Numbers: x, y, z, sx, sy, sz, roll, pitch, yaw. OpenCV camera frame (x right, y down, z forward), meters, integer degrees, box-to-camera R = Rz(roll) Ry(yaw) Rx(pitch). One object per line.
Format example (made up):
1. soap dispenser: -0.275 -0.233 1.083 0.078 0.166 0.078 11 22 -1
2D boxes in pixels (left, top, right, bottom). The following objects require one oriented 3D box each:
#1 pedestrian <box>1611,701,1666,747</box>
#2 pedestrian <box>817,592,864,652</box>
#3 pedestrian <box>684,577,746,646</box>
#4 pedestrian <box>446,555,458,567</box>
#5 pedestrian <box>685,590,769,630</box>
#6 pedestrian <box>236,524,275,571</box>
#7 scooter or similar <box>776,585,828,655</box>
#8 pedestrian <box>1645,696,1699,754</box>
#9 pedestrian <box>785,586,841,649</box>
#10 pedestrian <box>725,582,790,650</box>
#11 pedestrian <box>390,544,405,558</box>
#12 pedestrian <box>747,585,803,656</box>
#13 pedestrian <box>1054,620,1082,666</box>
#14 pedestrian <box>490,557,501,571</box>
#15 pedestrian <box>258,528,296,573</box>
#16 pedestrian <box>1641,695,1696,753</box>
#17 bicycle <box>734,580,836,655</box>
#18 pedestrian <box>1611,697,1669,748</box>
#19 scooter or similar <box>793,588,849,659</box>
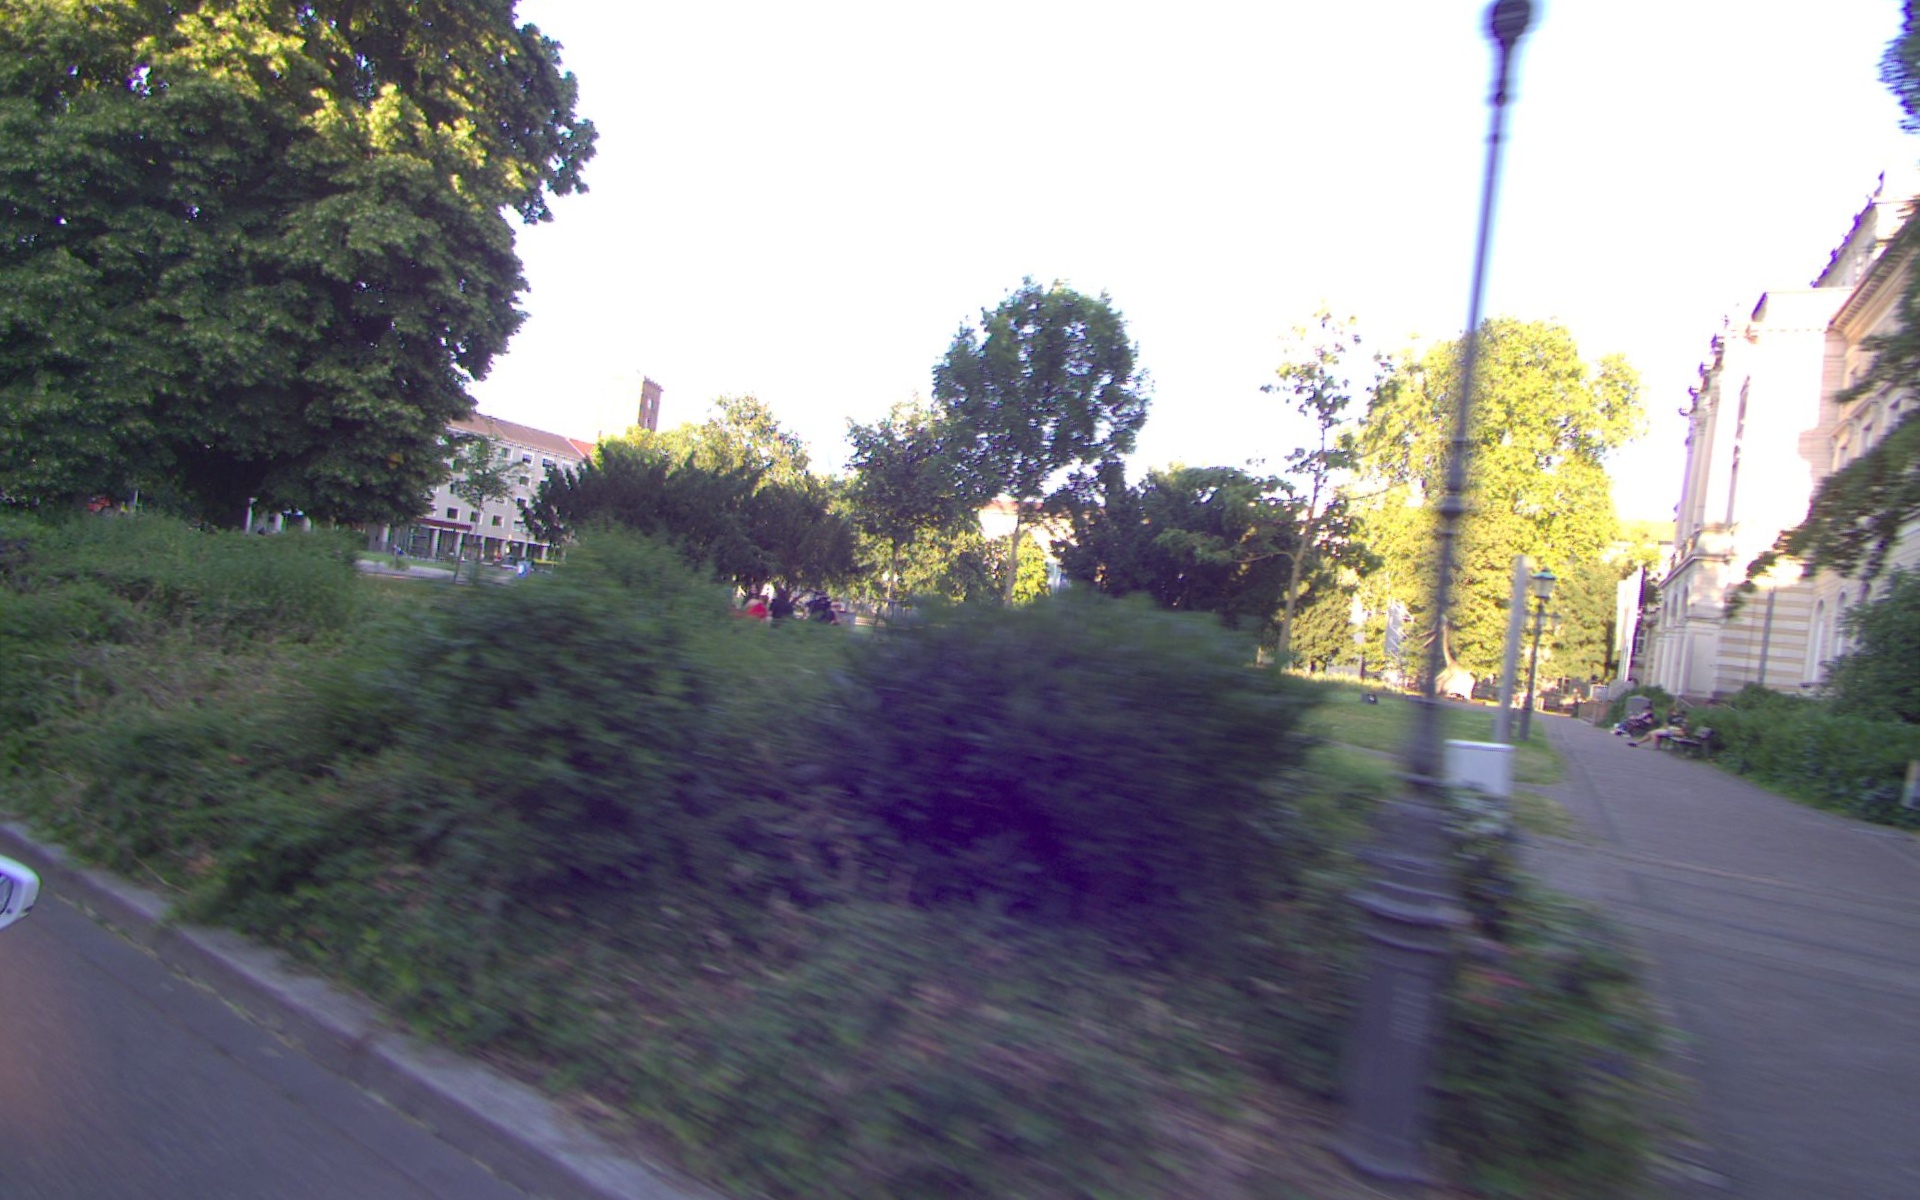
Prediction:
1. pedestrian: 24.200 4.415 35.903 1.428 1.414 0.694 7 1 32
2. pedestrian: -2.909 0.534 24.586 0.773 1.364 0.761 7 0 15
3. pedestrian: -4.681 0.221 19.215 0.735 1.206 0.722 7 0 35
4. pedestrian: -42.191 -3.230 83.543 0.609 0.936 0.512 7 0 6
5. pedestrian: -4.255 0.174 18.412 1.351 0.557 0.541 7 3 12
6. pedestrian: -22.523 -1.676 32.146 0.804 1.358 0.598 7 0 26
7. scooter or similar: -3.033 0.403 19.394 0.410 1.261 1.221 7 0 15
8. pedestrian: 19.775 3.456 27.968 1.027 1.414 0.694 7 1 32
9. pedestrian: -3.468 0.418 23.830 0.868 1.364 0.920 7 0 16
10. pedestrian: -3.949 0.310 19.654 0.777 1.206 0.807 7 0 35
11. pedestrian: -48.661 -4.206 87.012 0.893 1.090 0.614 7 0 -41
12. pedestrian: -3.443 0.379 18.689 0.657 1.206 0.789 6 0 -31
13. pedestrian: 4.390 1.744 40.881 0.745 1.769 0.772 7 0 28
14. pedestrian: -38.486 -2.959 83.336 0.611 1.090 0.511 7 0 -8
15. pedestrian: -22.224 -1.609 32.731 0.804 1.358 0.598 7 0 26
16. pedestrian: 19.212 3.347 27.283 1.027 1.414 0.694 7 1 32
17. bicycle: -3.630 0.351 20.838 1.983 1.316 0.620 7 0 27
18. pedestrian: 24.838 4.462 36.787 1.541 1.575 0.800 7 1 32
19. scooter or similar: -2.603 0.456 18.944 0.410 1.261 1.221 7 0 19
